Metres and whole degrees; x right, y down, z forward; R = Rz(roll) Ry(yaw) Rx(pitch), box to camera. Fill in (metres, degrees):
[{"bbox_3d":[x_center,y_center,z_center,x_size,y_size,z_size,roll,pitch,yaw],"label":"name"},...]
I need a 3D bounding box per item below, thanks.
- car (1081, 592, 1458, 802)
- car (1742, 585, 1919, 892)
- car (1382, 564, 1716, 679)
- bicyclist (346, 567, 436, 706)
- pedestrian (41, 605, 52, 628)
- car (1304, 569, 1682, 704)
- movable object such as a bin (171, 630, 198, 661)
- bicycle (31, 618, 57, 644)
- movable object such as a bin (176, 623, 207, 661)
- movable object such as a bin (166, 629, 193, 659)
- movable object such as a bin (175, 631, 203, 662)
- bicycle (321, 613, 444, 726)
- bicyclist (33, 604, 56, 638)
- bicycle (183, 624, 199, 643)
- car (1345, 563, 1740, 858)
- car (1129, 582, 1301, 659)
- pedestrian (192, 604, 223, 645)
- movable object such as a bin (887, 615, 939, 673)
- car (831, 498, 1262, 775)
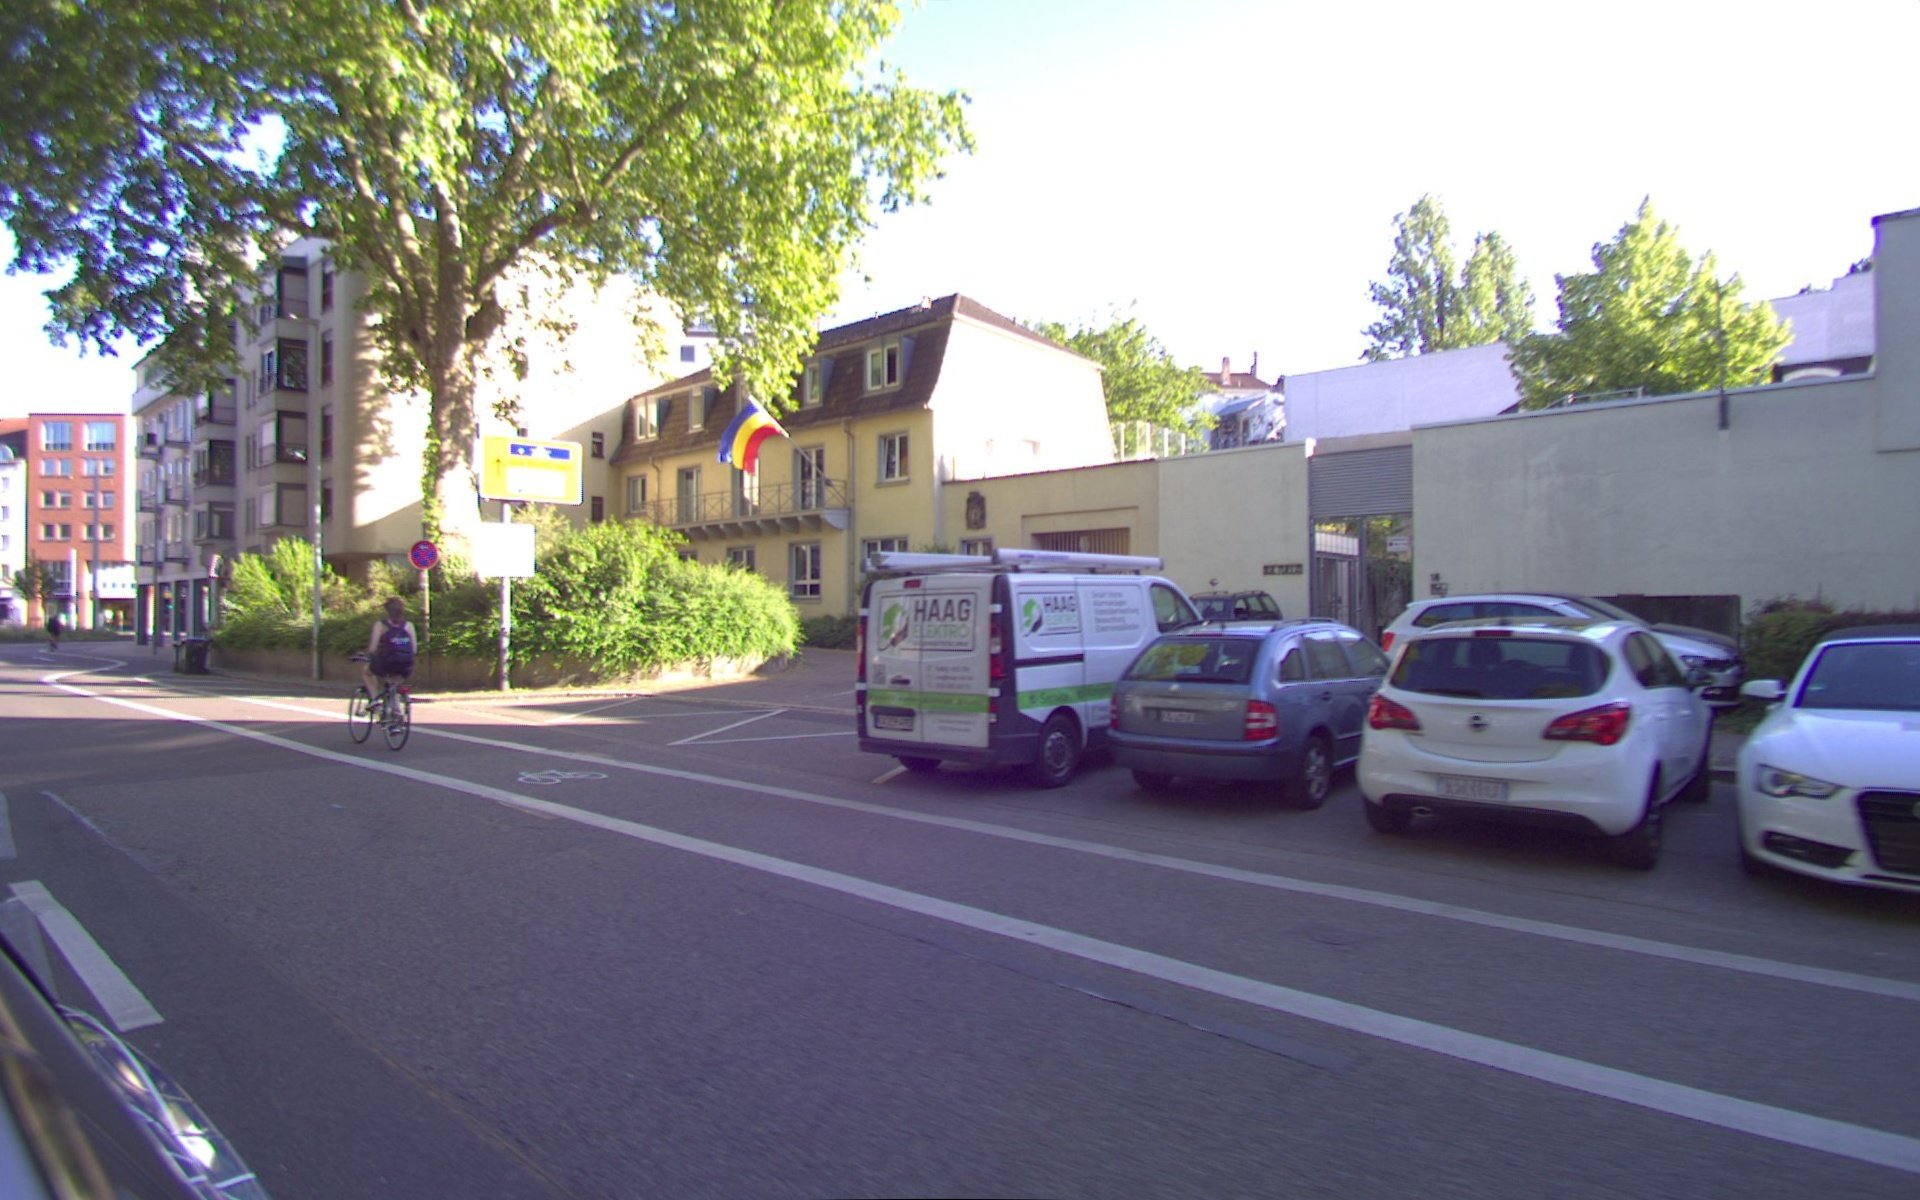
[{"bbox_3d":[2.966,0.673,9.159,1.852,1.444,3.946,-1,0,40],"label":"car"},{"bbox_3d":[5.998,0.630,6.097,1.852,1.444,3.946,-1,0,40],"label":"car"},{"bbox_3d":[8.585,0.272,14.932,3.998,1.475,1.771,-1,1,41],"label":"car"},{"bbox_3d":[-6.710,0.429,11.929,0.933,1.556,0.600,-2,-4,41],"label":"bicyclist"},{"bbox_3d":[-68.807,1.232,76.222,0.585,1.760,0.503,-1,1,-41],"label":"pedestrian"},{"bbox_3d":[6.734,0.399,13.012,3.998,1.475,1.771,-1,1,41],"label":"car"},{"bbox_3d":[-23.230,1.356,30.299,0.559,0.908,0.536,-1,-1,41],"label":"movable object such as a bin"},{"bbox_3d":[-44.942,1.511,49.649,2.178,1.209,0.721,0,-2,43],"label":"bicycle"},{"bbox_3d":[-22.279,1.214,29.350,0.644,1.079,0.588,-1,-1,41],"label":"movable object such as a bin"},{"bbox_3d":[-23.695,1.327,30.707,0.603,0.908,0.536,-1,-1,41],"label":"movable object such as a bin"},{"bbox_3d":[-22.765,1.362,29.893,0.644,0.908,0.536,-1,-1,41],"label":"movable object such as a bin"},{"bbox_3d":[-6.938,0.806,12.118,2.048,1.249,0.600,-1,-3,41],"label":"bicycle"},{"bbox_3d":[-44.923,1.008,49.641,1.167,1.653,0.721,0,-1,43],"label":"bicyclist"},{"bbox_3d":[-36.246,1.575,47.681,1.523,0.830,0.354,-1,-1,44],"label":"bicycle"},{"bbox_3d":[4.500,0.581,7.513,1.852,1.571,3.946,-1,0,40],"label":"car"},{"bbox_3d":[5.416,0.387,21.275,1.890,1.428,3.819,-2,0,43],"label":"car"},{"bbox_3d":[-33.018,1.061,44.405,0.717,1.753,0.830,0,0,18],"label":"pedestrian"},{"bbox_3d":[-0.896,0.831,19.242,0.834,1.051,0.522,-1,1,41],"label":"movable object such as a bin"},{"bbox_3d":[1.153,0.249,10.676,2.138,2.233,4.795,-1,1,40],"label":"car"}]
